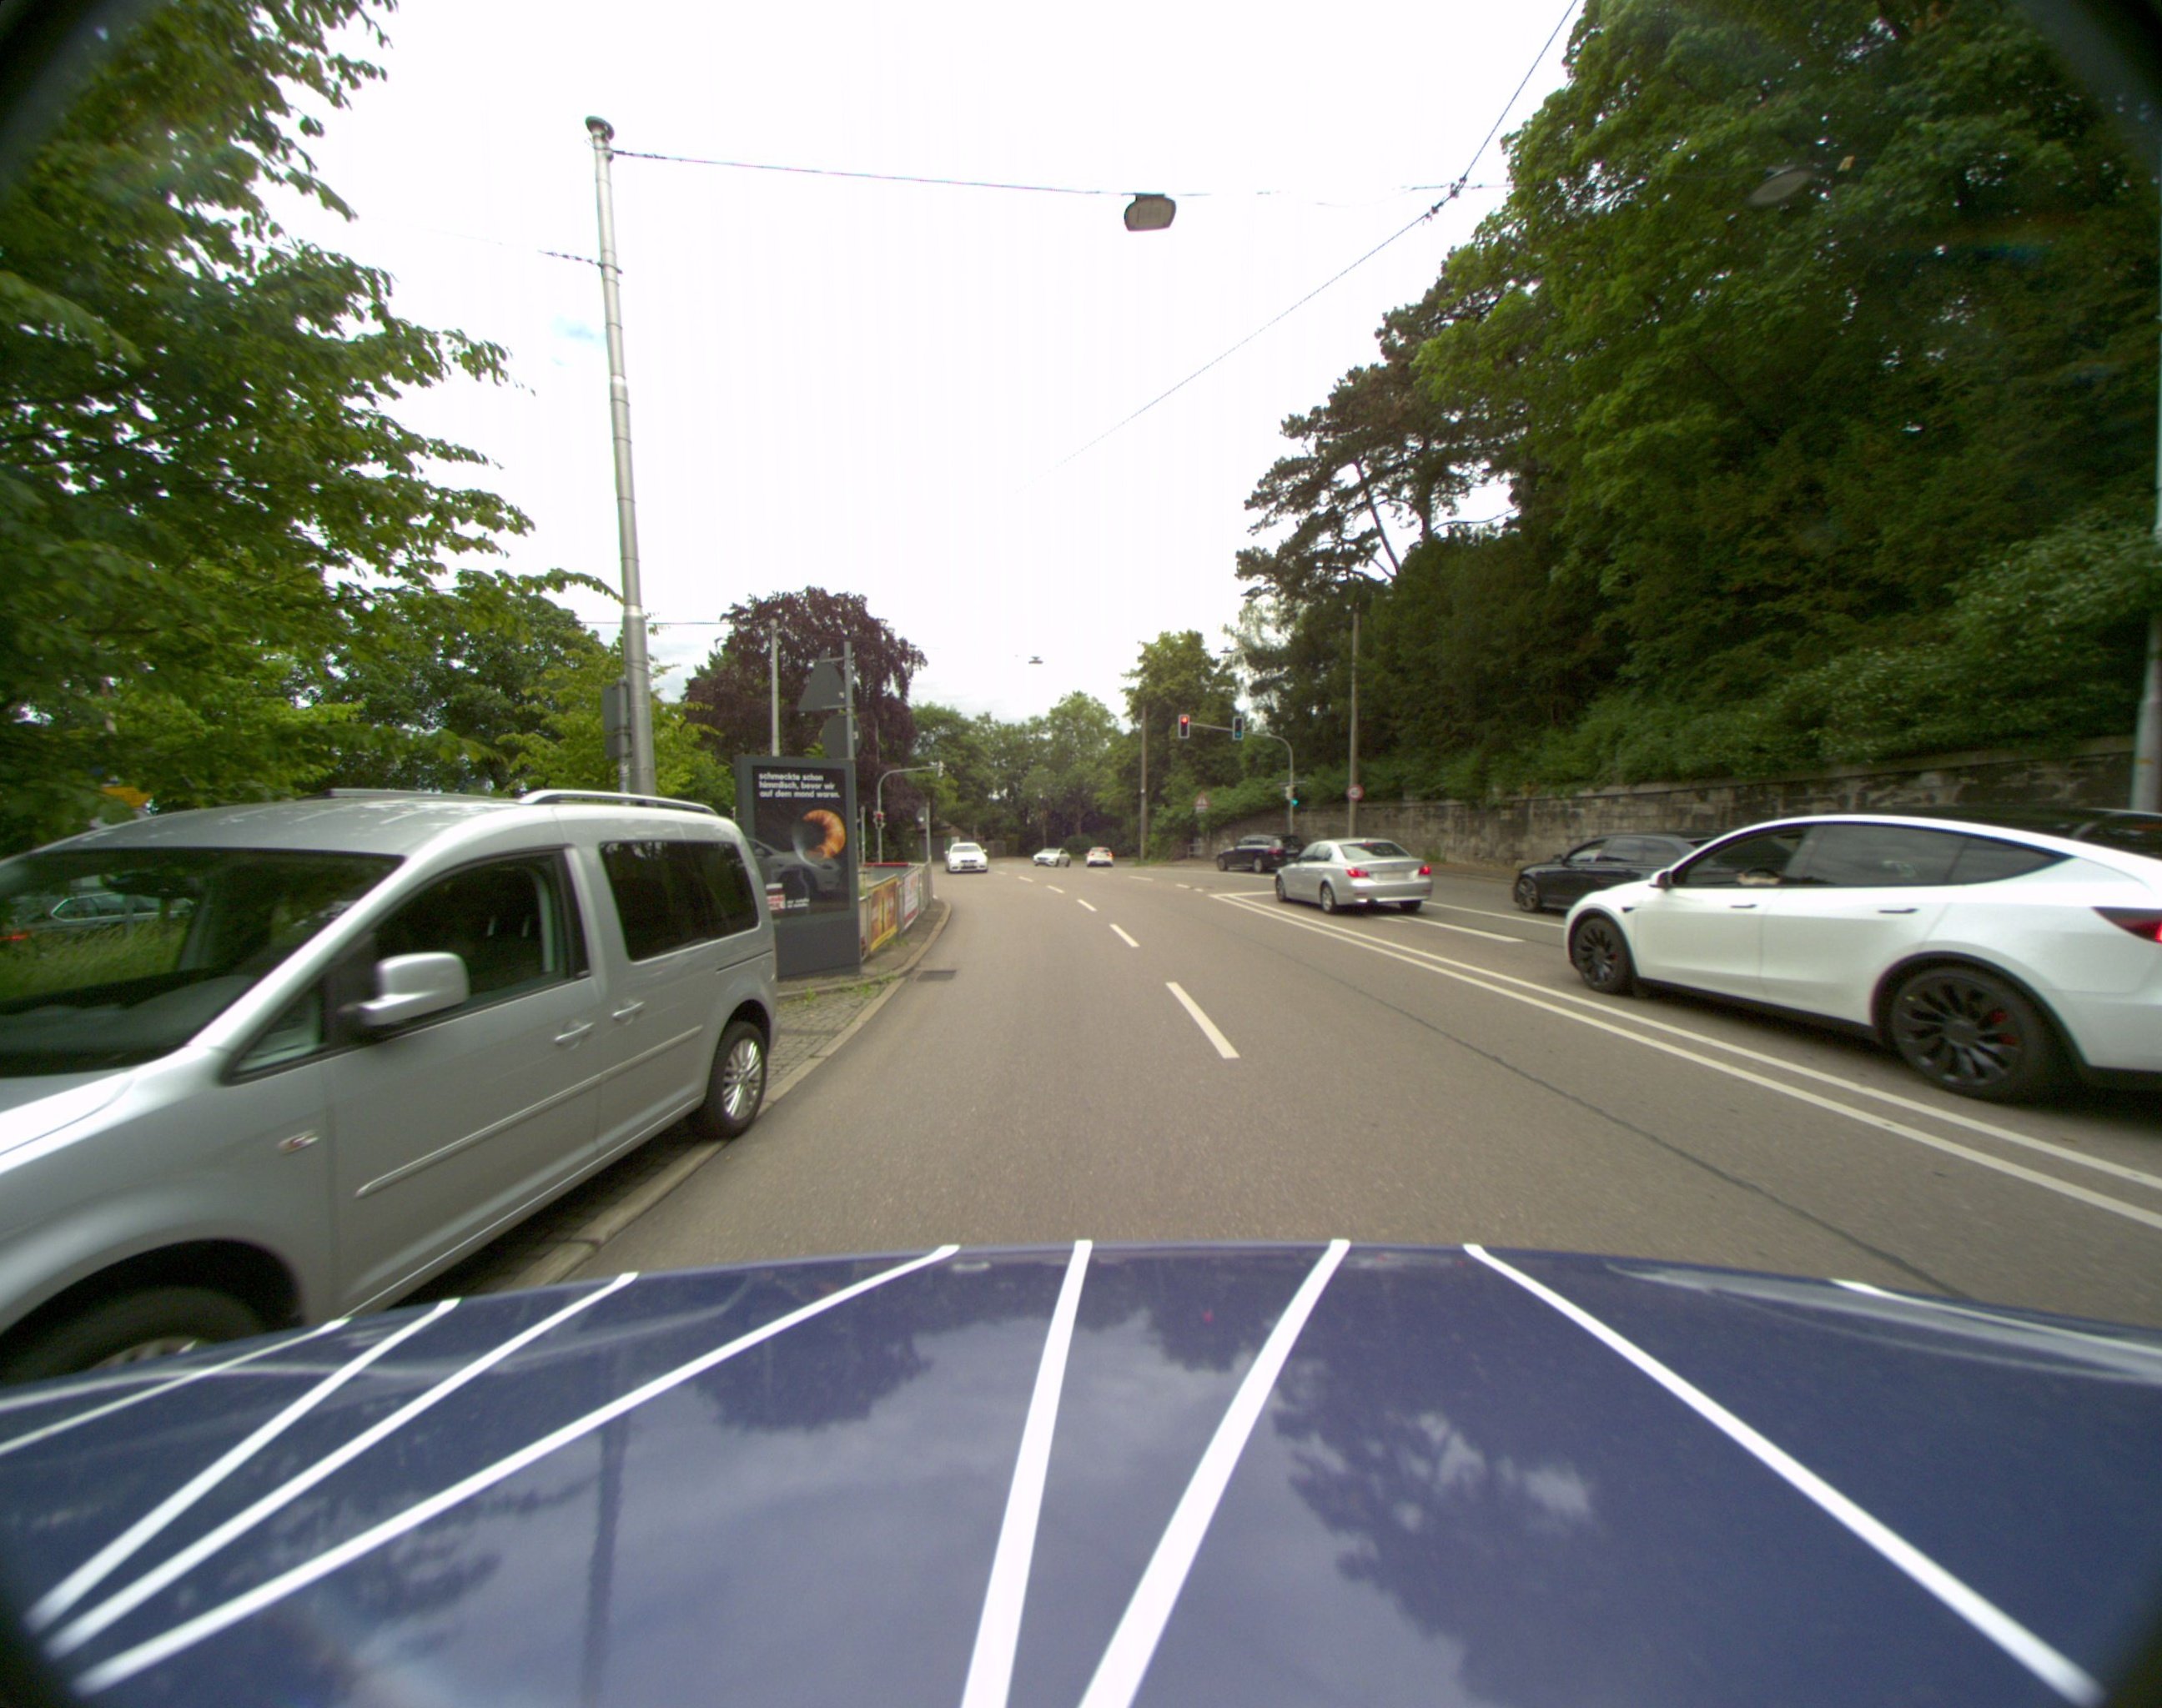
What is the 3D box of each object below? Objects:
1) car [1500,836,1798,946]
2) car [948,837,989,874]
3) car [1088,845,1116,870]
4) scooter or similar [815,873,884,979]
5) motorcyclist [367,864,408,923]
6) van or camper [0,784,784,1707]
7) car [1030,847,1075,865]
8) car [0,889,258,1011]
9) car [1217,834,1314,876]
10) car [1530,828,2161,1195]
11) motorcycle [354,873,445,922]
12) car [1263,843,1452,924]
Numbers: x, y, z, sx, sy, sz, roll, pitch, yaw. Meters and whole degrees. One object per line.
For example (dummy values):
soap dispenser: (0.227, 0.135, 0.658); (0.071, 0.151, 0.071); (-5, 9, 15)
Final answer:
car: (8.834, 0.483, 12.304); (1.635, 1.426, 3.956); (-2, 1, -5)
car: (-5.614, 0.022, 38.018); (1.824, 1.463, 4.777); (4, 3, -8)
car: (1.413, 0.221, 51.965); (1.640, 1.548, 4.112); (-1, 1, -2)
scooter or similar: (-3.136, 0.933, 10.386); (0.518, 1.281, 1.486); (1, 1, -1)
motorcyclist: (-19.606, 1.096, 21.479); (0.724, 1.595, 0.650); (1, 3, 35)
van or camper: (-2.815, 0.778, 2.654); (1.703, 1.834, 4.242); (-1, 1, 2)
car: (-2.131, 0.174, 57.691); (1.967, 1.306, 3.857); (-2, -2, 21)
car: (-19.472, 1.762, 15.058); (1.925, 1.718, 3.997); (-1, 3, -2)
car: (7.005, 0.024, 29.311); (1.739, 1.444, 4.044); (-3, 1, -17)
car: (5.535, 0.636, 5.396); (1.842, 1.545, 4.787); (-2, 1, 0)
motorcycle: (-19.374, 1.218, 21.634); (0.724, 1.226, 1.751); (1, 3, 35)
car: (5.591, 0.498, 16.182); (1.999, 1.461, 4.875); (-1, 1, -4)
